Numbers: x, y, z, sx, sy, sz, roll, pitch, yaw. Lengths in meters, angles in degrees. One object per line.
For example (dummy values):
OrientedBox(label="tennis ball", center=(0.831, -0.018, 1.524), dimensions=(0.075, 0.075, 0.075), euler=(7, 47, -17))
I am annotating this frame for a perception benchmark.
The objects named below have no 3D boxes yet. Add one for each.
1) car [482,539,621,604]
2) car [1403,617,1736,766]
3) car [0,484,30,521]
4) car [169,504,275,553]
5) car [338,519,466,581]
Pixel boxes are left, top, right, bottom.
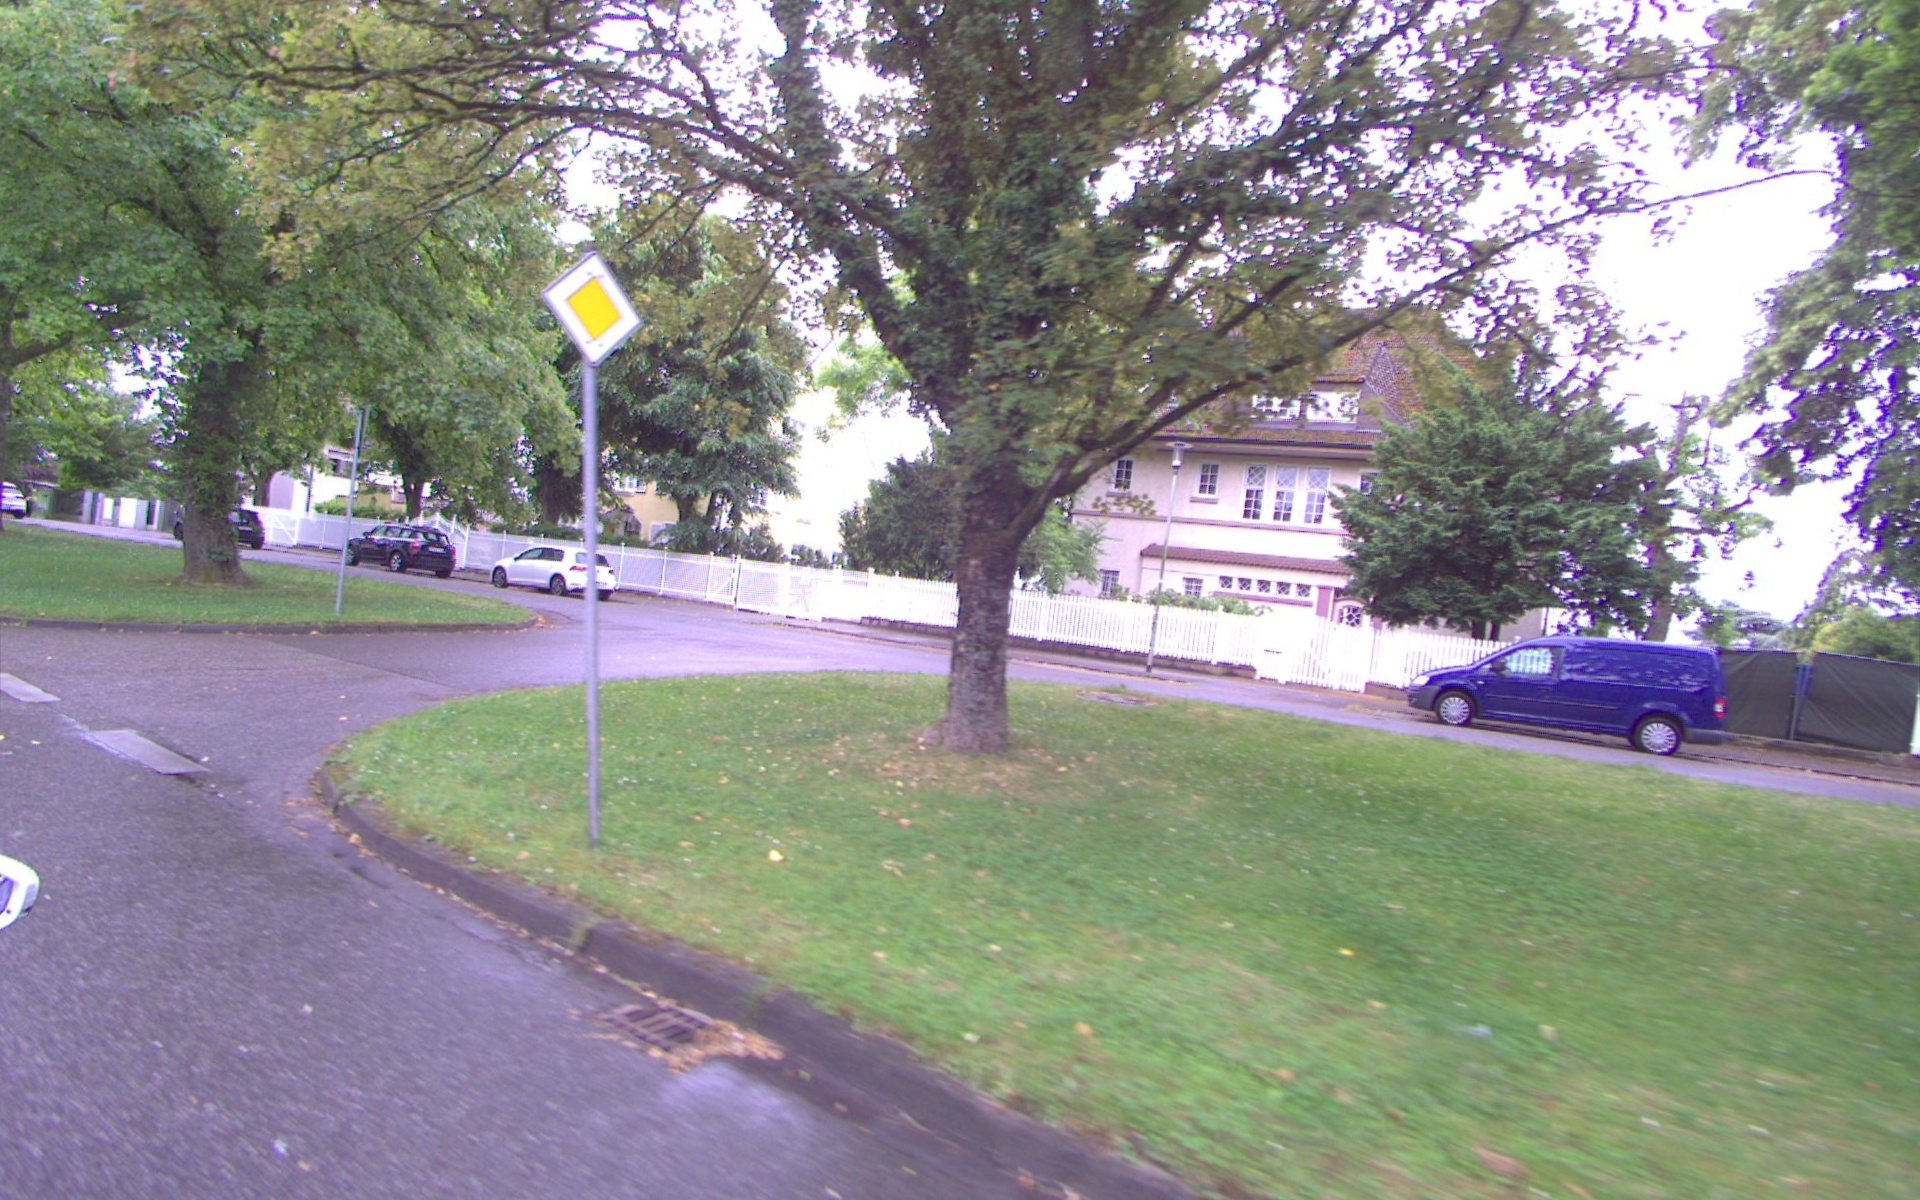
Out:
OrientedBox(label="car", center=(-12.156, -0.861, 29.907), dimensions=(3.941, 1.428, 1.618), euler=(7, 1, 29))
OrientedBox(label="car", center=(10.411, 1.482, 17.580), dimensions=(4.570, 1.833, 1.943), euler=(7, 2, 30))
OrientedBox(label="car", center=(-41.546, -4.292, 42.876), dimensions=(3.934, 1.424, 1.804), euler=(7, 2, 33))
OrientedBox(label="car", center=(-28.803, -2.802, 39.226), dimensions=(4.042, 1.430, 1.804), euler=(7, 1, 30))
OrientedBox(label="car", center=(-18.513, -1.678, 33.330), dimensions=(4.042, 1.549, 1.804), euler=(7, 1, 30))
